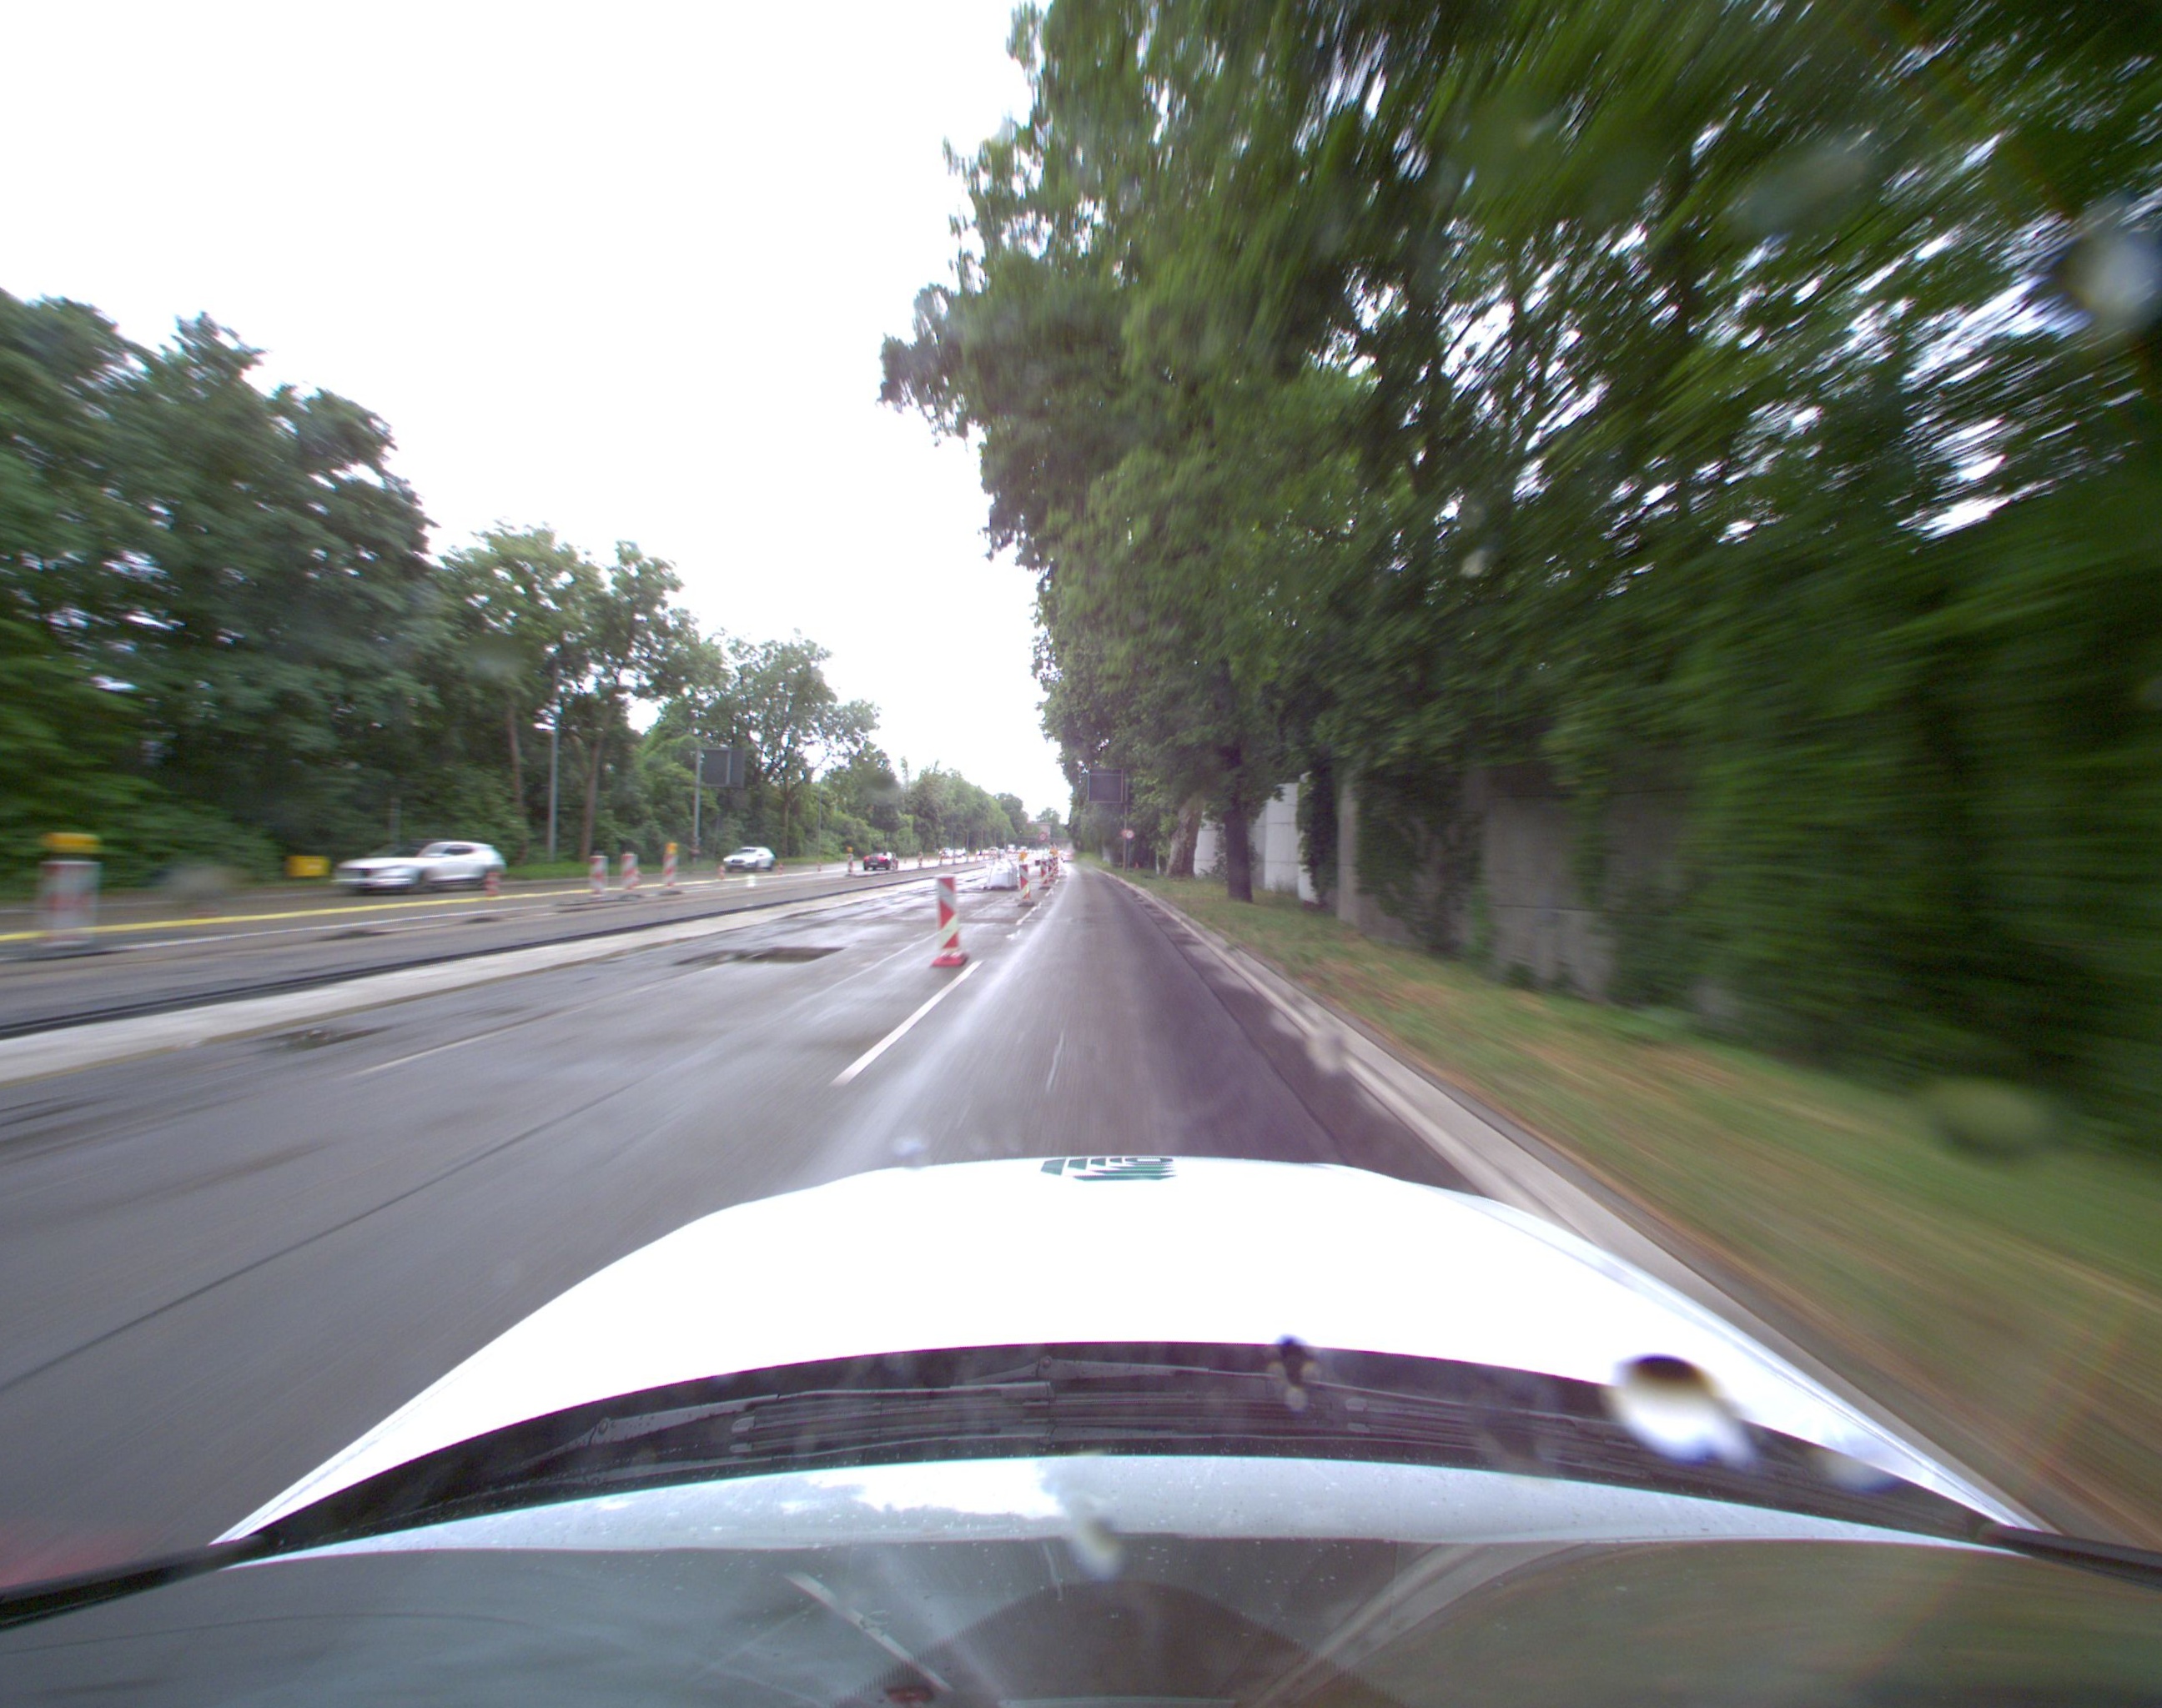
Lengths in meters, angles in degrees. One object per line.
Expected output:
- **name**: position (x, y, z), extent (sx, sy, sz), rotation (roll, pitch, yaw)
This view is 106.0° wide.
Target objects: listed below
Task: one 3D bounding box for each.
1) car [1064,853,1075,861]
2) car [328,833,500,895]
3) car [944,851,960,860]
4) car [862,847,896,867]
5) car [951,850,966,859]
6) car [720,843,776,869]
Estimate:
- **car**: position (-1.898, 0.514, 133.622), extent (1.693, 1.336, 3.489), rotation (-1, 0, -2)
- **car**: position (-20.614, 0.288, 25.449), extent (1.771, 1.751, 4.378), rotation (0, 0, -1)
- **car**: position (-19.512, 0.175, 123.241), extent (1.813, 1.355, 4.387), rotation (-1, 0, -2)
- **car**: position (-14.848, 0.213, 59.993), extent (1.603, 1.404, 4.038), rotation (1, 0, -2)
- **car**: position (-19.626, 0.028, 130.617), extent (1.813, 1.355, 4.202), rotation (-1, 0, -2)
- **car**: position (-20.571, 0.111, 50.478), extent (1.661, 1.541, 4.157), rotation (-2, 0, 0)
